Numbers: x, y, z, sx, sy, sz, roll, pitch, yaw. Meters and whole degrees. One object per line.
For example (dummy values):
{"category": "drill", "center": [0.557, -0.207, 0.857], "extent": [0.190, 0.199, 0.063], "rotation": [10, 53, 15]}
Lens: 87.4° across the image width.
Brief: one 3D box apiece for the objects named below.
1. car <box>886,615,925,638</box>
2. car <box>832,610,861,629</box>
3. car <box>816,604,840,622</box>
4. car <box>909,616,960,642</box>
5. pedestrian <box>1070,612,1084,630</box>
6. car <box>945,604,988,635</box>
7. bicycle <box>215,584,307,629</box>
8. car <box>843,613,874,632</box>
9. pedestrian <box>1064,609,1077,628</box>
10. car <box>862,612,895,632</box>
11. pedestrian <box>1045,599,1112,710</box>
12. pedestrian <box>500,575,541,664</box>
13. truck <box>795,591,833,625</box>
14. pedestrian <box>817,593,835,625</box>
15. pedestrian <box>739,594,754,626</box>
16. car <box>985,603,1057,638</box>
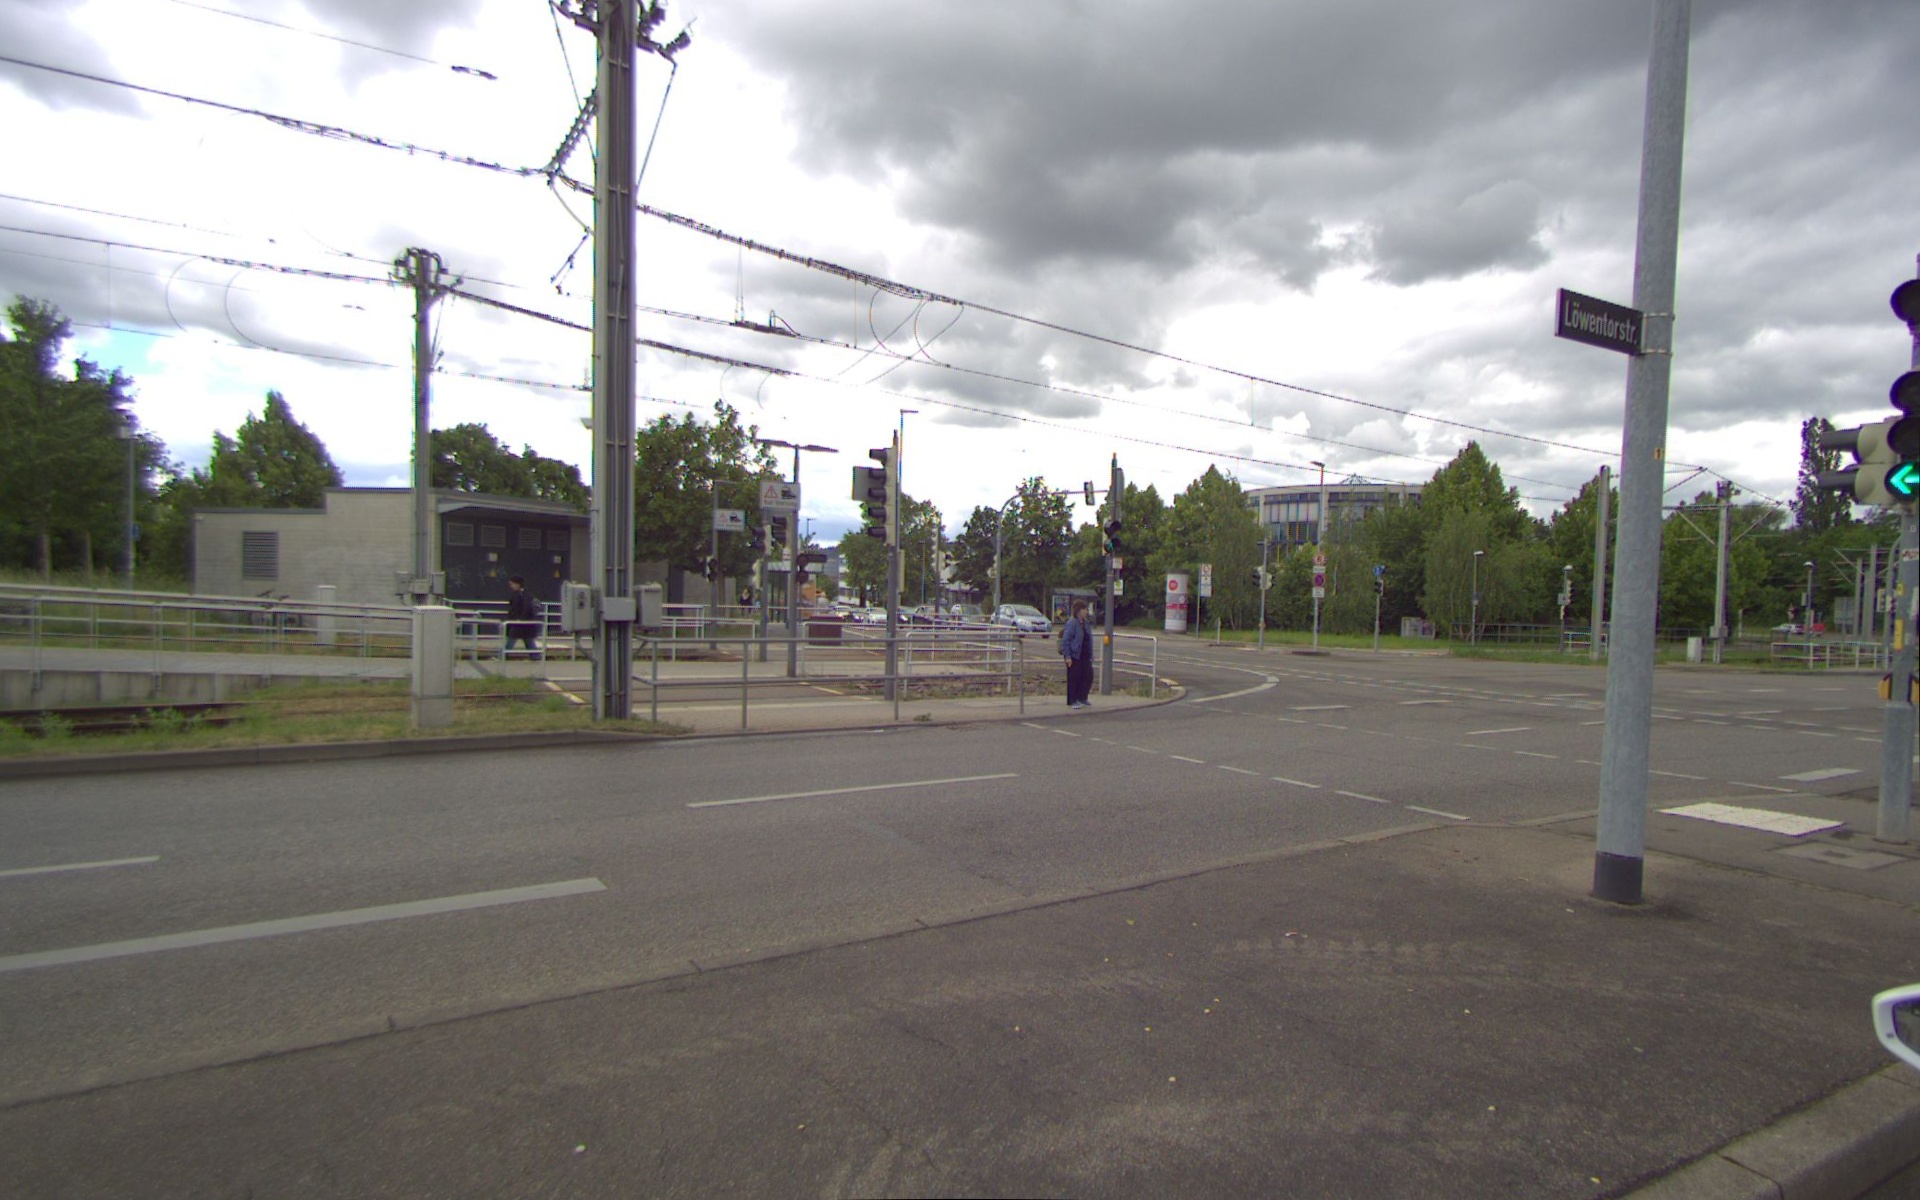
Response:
{"category": "car", "center": [-3.562, 1.696, 64.654], "extent": [1.618, 1.350, 4.046], "rotation": [1, 0, -17]}
{"category": "car", "center": [-9.809, 1.676, 86.543], "extent": [1.708, 1.606, 4.208], "rotation": [1, 0, -17]}
{"category": "car", "center": [-12.390, 1.226, 94.100], "extent": [1.618, 1.606, 4.046], "rotation": [1, 0, -17]}
{"category": "car", "center": [-1.516, 1.647, 58.009], "extent": [1.777, 1.350, 4.362], "rotation": [1, 0, -18]}
{"category": "pedestrian", "center": [8.329, 1.503, 71.392], "extent": [0.759, 1.269, 0.774], "rotation": [1, 0, 32]}
{"category": "car", "center": [0.319, 1.017, 52.900], "extent": [1.411, 1.547, 2.763], "rotation": [1, 0, -19]}
{"category": "bicycle", "center": [-18.723, 0.183, 26.894], "extent": [2.210, 1.120, 0.679], "rotation": [2, 0, 12]}
{"category": "car", "center": [-8.121, 1.792, 80.100], "extent": [1.618, 1.409, 4.867], "rotation": [1, 0, -17]}
{"category": "pedestrian", "center": [7.977, 1.338, 72.603], "extent": [0.718, 1.333, 0.587], "rotation": [1, 0, -15]}
{"category": "car", "center": [-6.073, 1.586, 74.552], "extent": [1.618, 1.409, 3.748], "rotation": [1, 0, -17]}
{"category": "pedestrian", "center": [1.705, 0.769, 14.477], "extent": [0.661, 1.550, 0.711], "rotation": [1, 0, -25]}
{"category": "pedestrian", "center": [-8.075, 0.362, 18.455], "extent": [0.539, 1.593, 0.560], "rotation": [4, -1, -31]}
{"category": "truck", "center": [-15.824, 0.845, 108.263], "extent": [2.670, 3.533, 9.960], "rotation": [1, 0, -16]}
{"category": "pedestrian", "center": [-5.756, 0.377, 43.066], "extent": [0.543, 1.382, 0.769], "rotation": [1, 0, -24]}
{"category": "pedestrian", "center": [-11.535, 0.530, 54.206], "extent": [0.539, 1.692, 0.639], "rotation": [1, 0, 10]}
{"category": "car", "center": [2.782, 0.926, 46.861], "extent": [1.805, 1.556, 4.199], "rotation": [1, 0, -21]}
